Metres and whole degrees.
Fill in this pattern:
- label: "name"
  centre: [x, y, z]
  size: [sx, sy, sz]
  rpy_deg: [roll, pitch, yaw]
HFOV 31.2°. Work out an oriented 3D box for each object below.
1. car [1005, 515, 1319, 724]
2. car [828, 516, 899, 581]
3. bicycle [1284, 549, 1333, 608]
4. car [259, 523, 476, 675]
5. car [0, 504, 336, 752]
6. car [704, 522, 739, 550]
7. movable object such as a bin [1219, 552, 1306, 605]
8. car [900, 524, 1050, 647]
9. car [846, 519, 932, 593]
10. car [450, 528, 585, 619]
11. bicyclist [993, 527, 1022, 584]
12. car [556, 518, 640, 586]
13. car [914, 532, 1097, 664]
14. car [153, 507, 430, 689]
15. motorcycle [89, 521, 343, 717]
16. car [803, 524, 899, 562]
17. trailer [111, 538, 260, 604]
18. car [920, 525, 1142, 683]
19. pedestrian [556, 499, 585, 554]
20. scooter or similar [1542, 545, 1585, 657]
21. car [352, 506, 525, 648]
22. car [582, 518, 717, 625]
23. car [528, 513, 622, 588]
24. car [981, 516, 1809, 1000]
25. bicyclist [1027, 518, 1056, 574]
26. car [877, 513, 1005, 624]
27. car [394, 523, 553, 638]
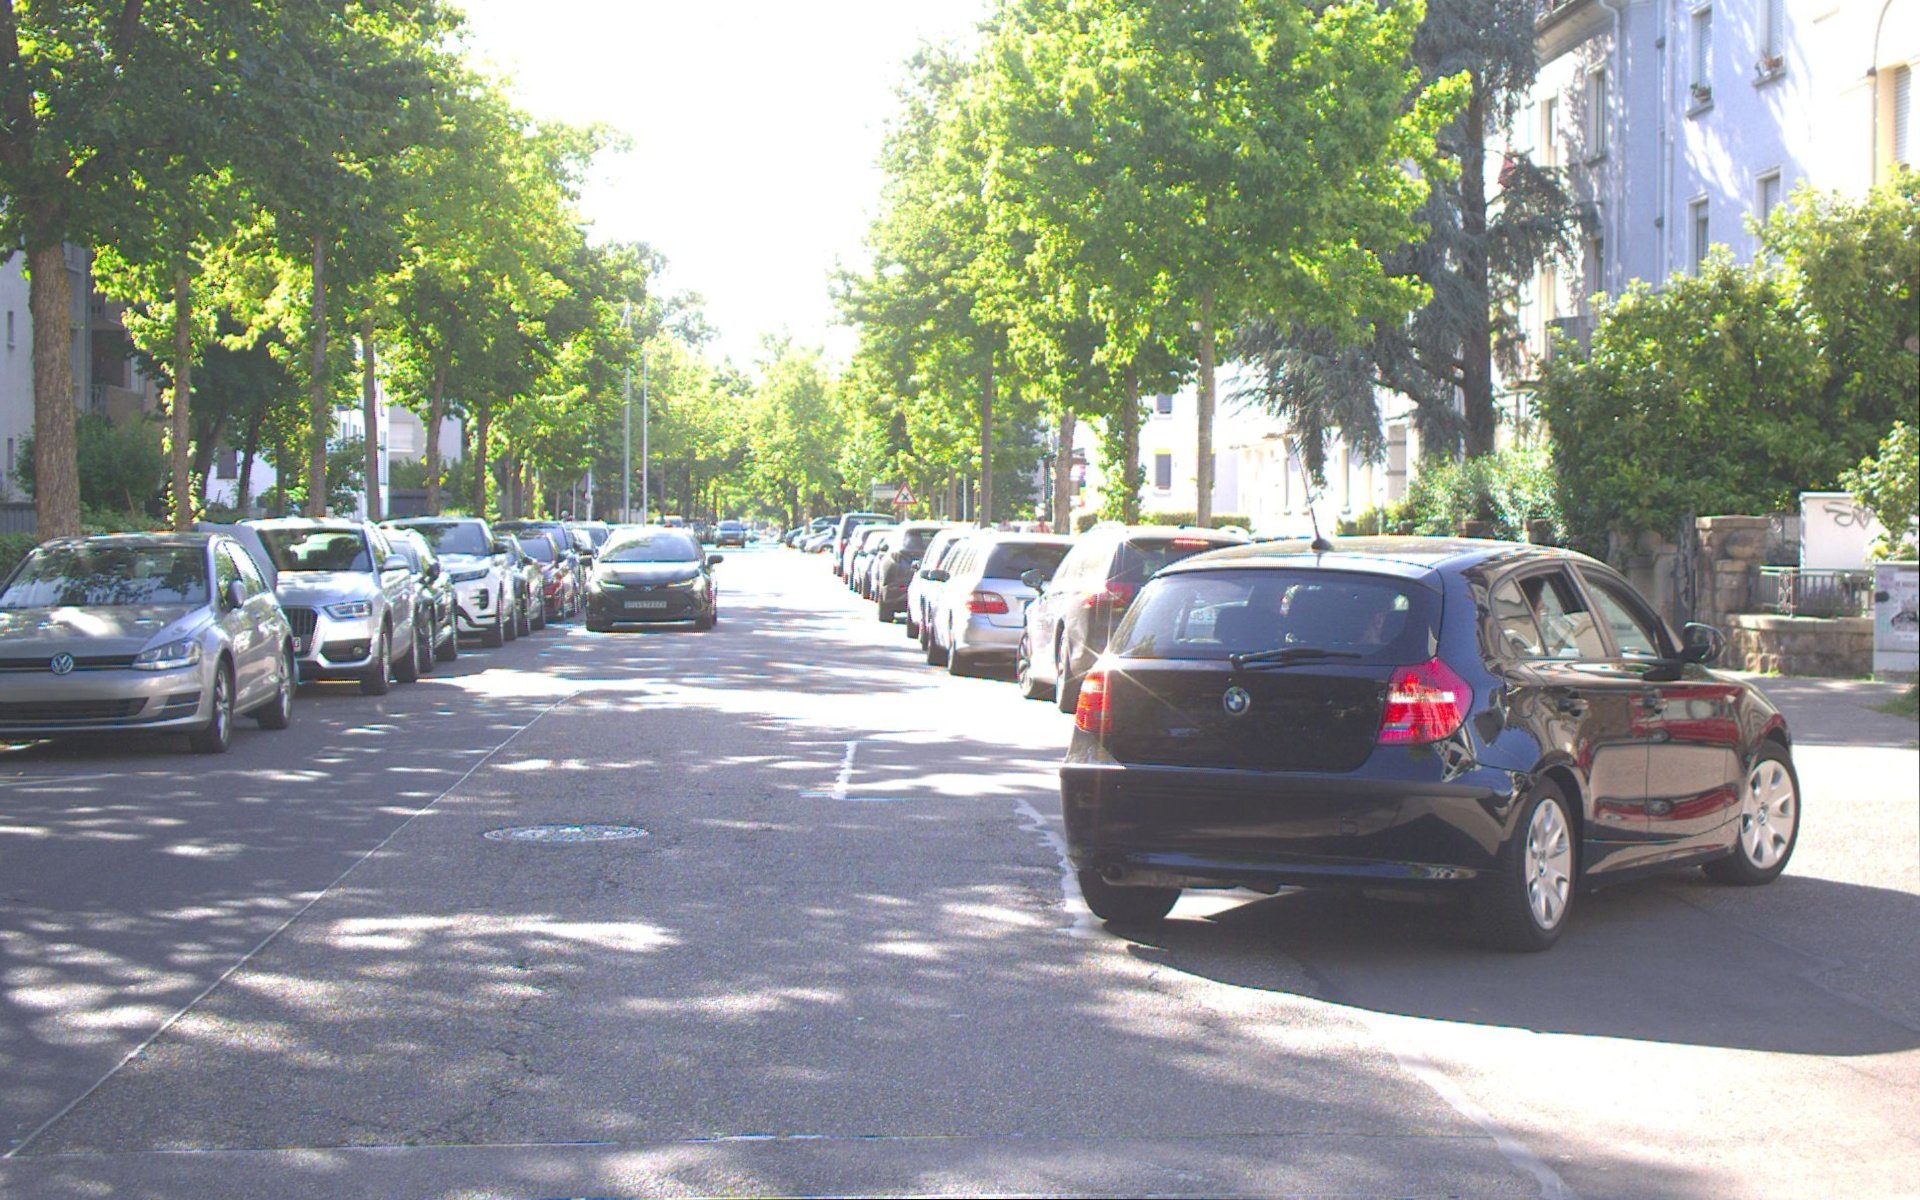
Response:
- label: "car"
  centre: [1.555, 0.125, 28.305]
  size: [1.895, 1.519, 4.968]
  rpy_deg: [1, 0, -4]
- label: "car"
  centre: [-3.010, -1.608, 106.385]
  size: [1.970, 1.942, 4.986]
  rpy_deg: [1, 1, -4]
- label: "bicycle"
  centre: [5.890, -0.375, 58.136]
  size: [0.581, 0.971, 1.904]
  rpy_deg: [0, 1, -1]
- label: "car"
  centre: [-6.222, -0.069, 36.563]
  size: [1.728, 1.442, 4.822]
  rpy_deg: [-2, 2, -4]
- label: "car"
  centre: [-5.642, 0.112, 23.556]
  size: [2.042, 1.519, 4.607]
  rpy_deg: [1, 1, -2]
- label: "car"
  centre: [-13.780, -3.694, 198.829]
  size: [1.782, 1.603, 4.001]
  rpy_deg: [0, 1, -7]
- label: "movable object such as a bin"
  centre: [5.430, -0.394, 61.628]
  size: [1.222, 0.901, 1.663]
  rpy_deg: [1, 1, 18]
- label: "car"
  centre: [0.166, -0.232, 46.952]
  size: [1.654, 1.527, 3.970]
  rpy_deg: [3, 1, -4]
- label: "car"
  centre: [-1.806, -1.130, 86.204]
  size: [1.907, 1.693, 4.314]
  rpy_deg: [3, 1, -3]
- label: "car"
  centre: [-7.090, -0.461, 55.404]
  size: [1.779, 1.374, 4.263]
  rpy_deg: [-1, 1, -3]
- label: "bicyclist"
  centre: [1.339, -1.262, 96.707]
  size: [0.677, 1.604, 0.922]
  rpy_deg: [0, 1, -6]
- label: "car"
  centre: [-8.539, -1.145, 81.346]
  size: [1.710, 1.539, 3.931]
  rpy_deg: [-1, 1, -2]
- label: "car"
  centre: [0.481, -0.072, 41.235]
  size: [1.710, 1.406, 4.863]
  rpy_deg: [2, 1, -4]
- label: "car"
  centre: [-6.004, -0.070, 31.380]
  size: [2.063, 1.519, 4.723]
  rpy_deg: [1, 1, -6]
- label: "motorcycle"
  centre: [-5.948, 0.122, 27.404]
  size: [0.987, 1.498, 2.232]
  rpy_deg: [-1, 2, -43]
- label: "car"
  centre: [-4.686, -2.447, 147.973]
  size: [3.986, 1.581, 1.727]
  rpy_deg: [0, 1, -7]
- label: "trailer"
  centre: [-12.893, -0.501, 57.403]
  size: [1.789, 1.030, 3.281]
  rpy_deg: [1, 1, -1]
- label: "car"
  centre: [0.668, -0.012, 36.248]
  size: [1.821, 1.464, 4.910]
  rpy_deg: [2, 1, -4]
- label: "pedestrian"
  centre: [-14.465, -2.738, 127.716]
  size: [0.859, 2.007, 0.981]
  rpy_deg: [1, 1, 5]
- label: "scooter or similar"
  centre: [6.612, 0.003, 37.633]
  size: [0.401, 1.181, 1.205]
  rpy_deg: [1, 2, 12]
- label: "car"
  centre: [-6.482, -0.317, 43.120]
  size: [1.728, 1.612, 4.367]
  rpy_deg: [-3, 1, -4]
- label: "car"
  centre: [-4.405, -0.441, 49.247]
  size: [1.808, 1.440, 4.367]
  rpy_deg: [-1, 1, -4]
- label: "car"
  centre: [-8.391, -1.093, 75.174]
  size: [1.811, 1.590, 4.234]
  rpy_deg: [0, 1, -3]
- label: "car"
  centre: [1.800, 0.446, 12.969]
  size: [1.785, 1.518, 3.994]
  rpy_deg: [1, 1, 28]
- label: "bicyclist"
  centre: [2.275, -1.518, 96.570]
  size: [0.676, 1.548, 1.022]
  rpy_deg: [0, 1, -6]
- label: "car"
  centre: [-0.354, -0.557, 56.517]
  size: [1.925, 1.646, 5.095]
  rpy_deg: [3, 1, -1]
- label: "car"
  centre: [-6.798, -0.314, 48.455]
  size: [1.728, 1.472, 4.620]
  rpy_deg: [-3, 1, -3]
